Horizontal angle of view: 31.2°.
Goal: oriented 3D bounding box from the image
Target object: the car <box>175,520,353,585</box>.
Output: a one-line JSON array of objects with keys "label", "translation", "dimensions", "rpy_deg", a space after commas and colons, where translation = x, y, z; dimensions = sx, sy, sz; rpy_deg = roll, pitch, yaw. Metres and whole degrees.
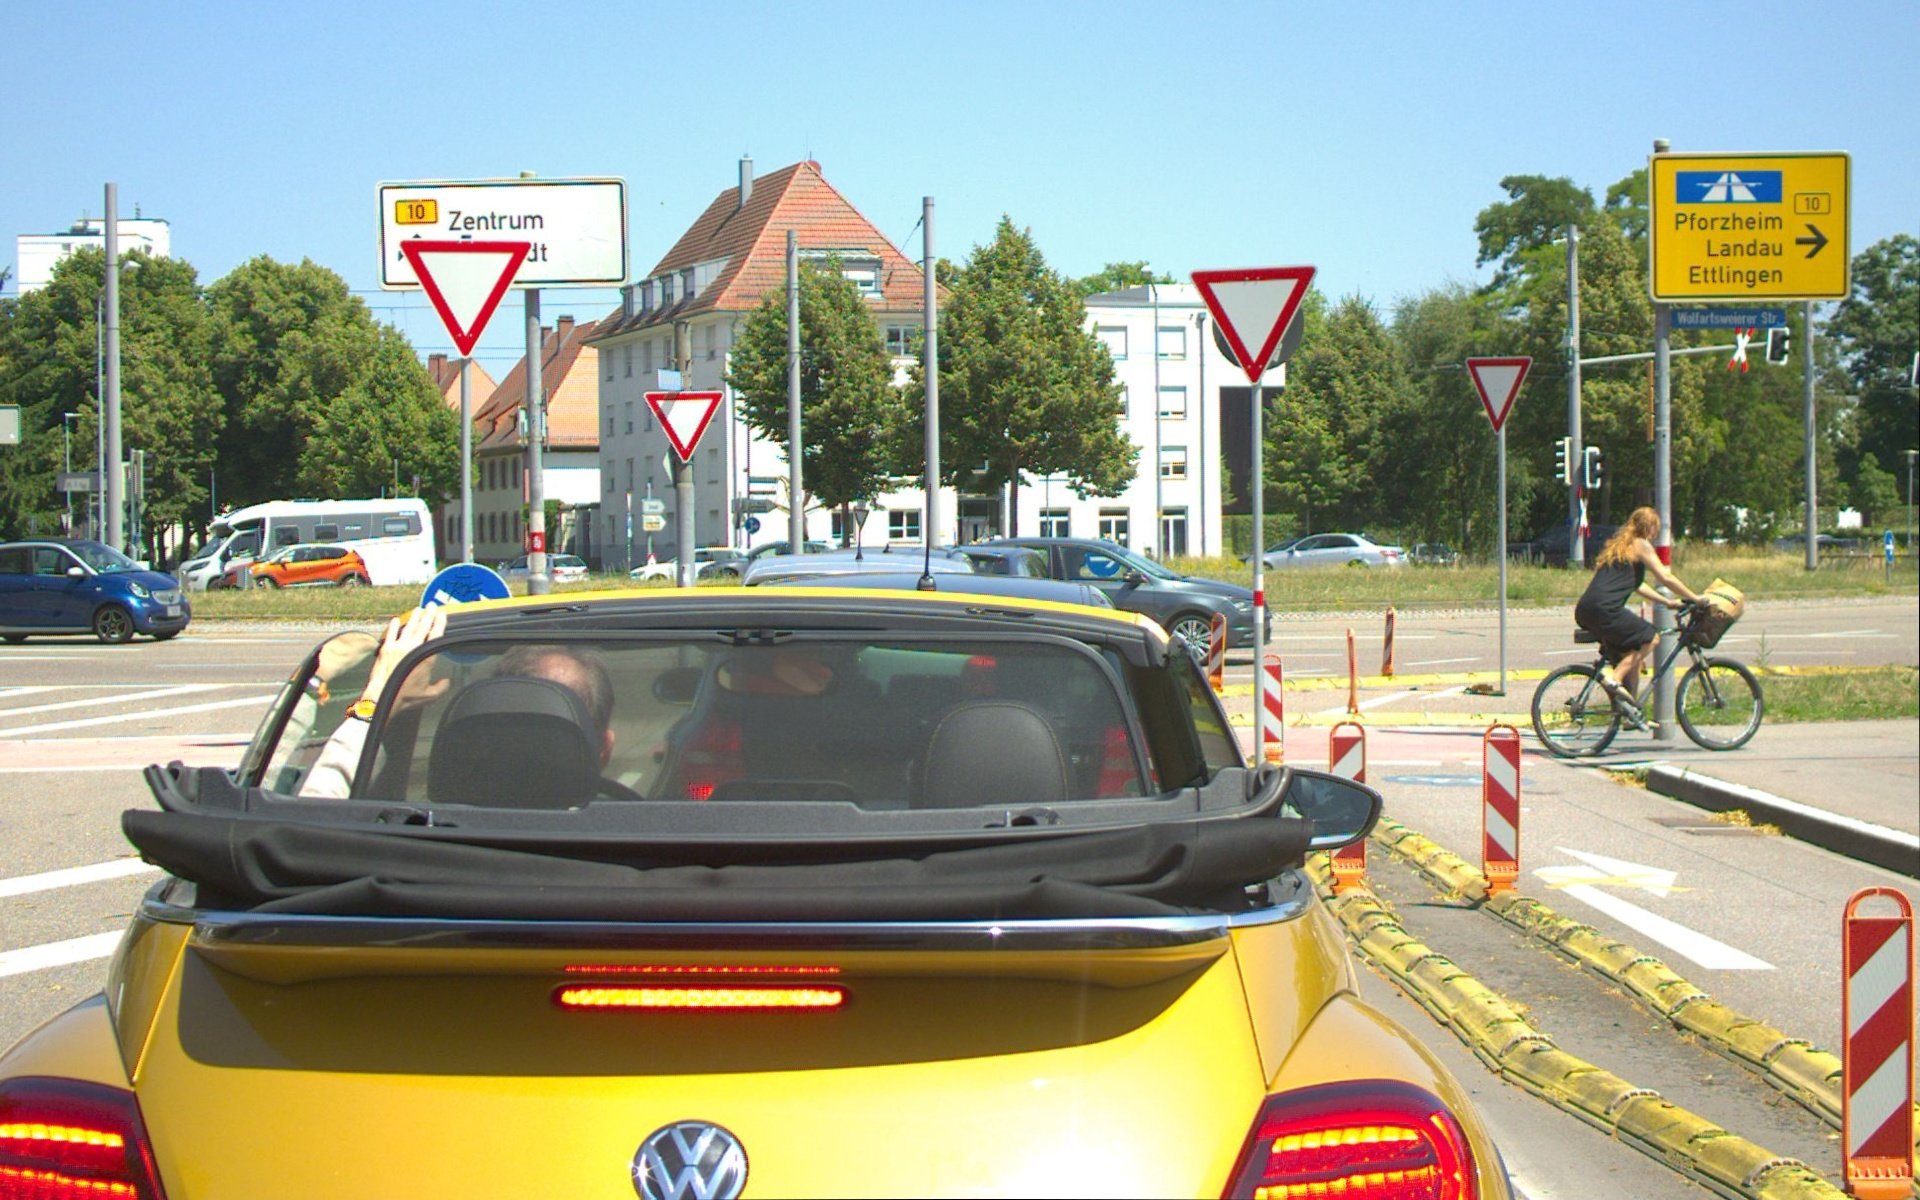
[{"label": "car", "translation": [-19.214, -1.301, 94.911], "dimensions": [4.430, 1.730, 1.849], "rpy_deg": [0, 1, -31]}]

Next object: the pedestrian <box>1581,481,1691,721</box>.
[{"label": "pedestrian", "translation": [4.839, 0.004, 24.629], "dimensions": [0.733, 1.685, 0.575], "rpy_deg": [1, 0, 9]}]

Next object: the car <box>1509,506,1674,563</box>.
[{"label": "car", "translation": [18.282, -1.911, 99.569], "dimensions": [4.327, 1.608, 1.877], "rpy_deg": [1, 1, 39]}]

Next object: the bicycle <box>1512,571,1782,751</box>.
[{"label": "bicycle", "translation": [4.905, 0.433, 24.615], "dimensions": [1.843, 1.227, 0.613], "rpy_deg": [-2, 0, 10]}]

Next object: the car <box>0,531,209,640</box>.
[{"label": "car", "translation": [-13.328, -0.229, 50.826], "dimensions": [3.989, 1.547, 1.727], "rpy_deg": [1, 0, 14]}]

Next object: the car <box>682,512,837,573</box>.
[{"label": "car", "translation": [-5.843, -1.681, 100.741], "dimensions": [4.430, 1.730, 1.849], "rpy_deg": [1, 0, 0]}]

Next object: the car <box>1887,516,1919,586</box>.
[{"label": "car", "translation": [28.745, -1.352, 96.119], "dimensions": [1.988, 1.955, 5.327], "rpy_deg": [0, 1, -38]}]

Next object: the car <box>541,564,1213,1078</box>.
[{"label": "car", "translation": [-0.253, 0.592, 11.688], "dimensions": [1.851, 1.361, 4.258], "rpy_deg": [-1, 1, -1]}]

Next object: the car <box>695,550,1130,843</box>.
[{"label": "car", "translation": [-0.250, 0.442, 18.605], "dimensions": [2.065, 1.377, 4.258], "rpy_deg": [1, 1, -1]}]

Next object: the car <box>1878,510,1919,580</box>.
[{"label": "car", "translation": [28.512, -1.515, 95.996], "dimensions": [1.988, 1.955, 5.326], "rpy_deg": [0, 1, -41]}]

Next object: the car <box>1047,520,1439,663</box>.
[{"label": "car", "translation": [3.191, -0.103, 39.398], "dimensions": [4.329, 1.547, 1.728], "rpy_deg": [1, 0, 0]}]

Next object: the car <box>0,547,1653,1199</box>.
[{"label": "car", "translation": [-0.317, 0.678, 5.100], "dimensions": [1.765, 1.476, 4.258], "rpy_deg": [1, 1, -1]}]

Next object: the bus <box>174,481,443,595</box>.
[{"label": "bus", "translation": [-18.797, -1.766, 99.374], "dimensions": [7.252, 3.161, 2.261], "rpy_deg": [1, 1, -29]}]

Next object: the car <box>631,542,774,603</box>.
[{"label": "car", "translation": [-7.823, -0.834, 104.245], "dimensions": [3.986, 1.766, 1.787], "rpy_deg": [1, 0, -18]}]

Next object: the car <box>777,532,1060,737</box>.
[{"label": "car", "translation": [-0.333, 0.210, 27.629], "dimensions": [2.065, 1.476, 4.543], "rpy_deg": [-1, 1, -1]}]

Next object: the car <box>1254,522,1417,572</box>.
[{"label": "car", "translation": [10.829, -1.536, 99.186], "dimensions": [4.323, 1.367, 1.750], "rpy_deg": [1, 1, 25]}]
